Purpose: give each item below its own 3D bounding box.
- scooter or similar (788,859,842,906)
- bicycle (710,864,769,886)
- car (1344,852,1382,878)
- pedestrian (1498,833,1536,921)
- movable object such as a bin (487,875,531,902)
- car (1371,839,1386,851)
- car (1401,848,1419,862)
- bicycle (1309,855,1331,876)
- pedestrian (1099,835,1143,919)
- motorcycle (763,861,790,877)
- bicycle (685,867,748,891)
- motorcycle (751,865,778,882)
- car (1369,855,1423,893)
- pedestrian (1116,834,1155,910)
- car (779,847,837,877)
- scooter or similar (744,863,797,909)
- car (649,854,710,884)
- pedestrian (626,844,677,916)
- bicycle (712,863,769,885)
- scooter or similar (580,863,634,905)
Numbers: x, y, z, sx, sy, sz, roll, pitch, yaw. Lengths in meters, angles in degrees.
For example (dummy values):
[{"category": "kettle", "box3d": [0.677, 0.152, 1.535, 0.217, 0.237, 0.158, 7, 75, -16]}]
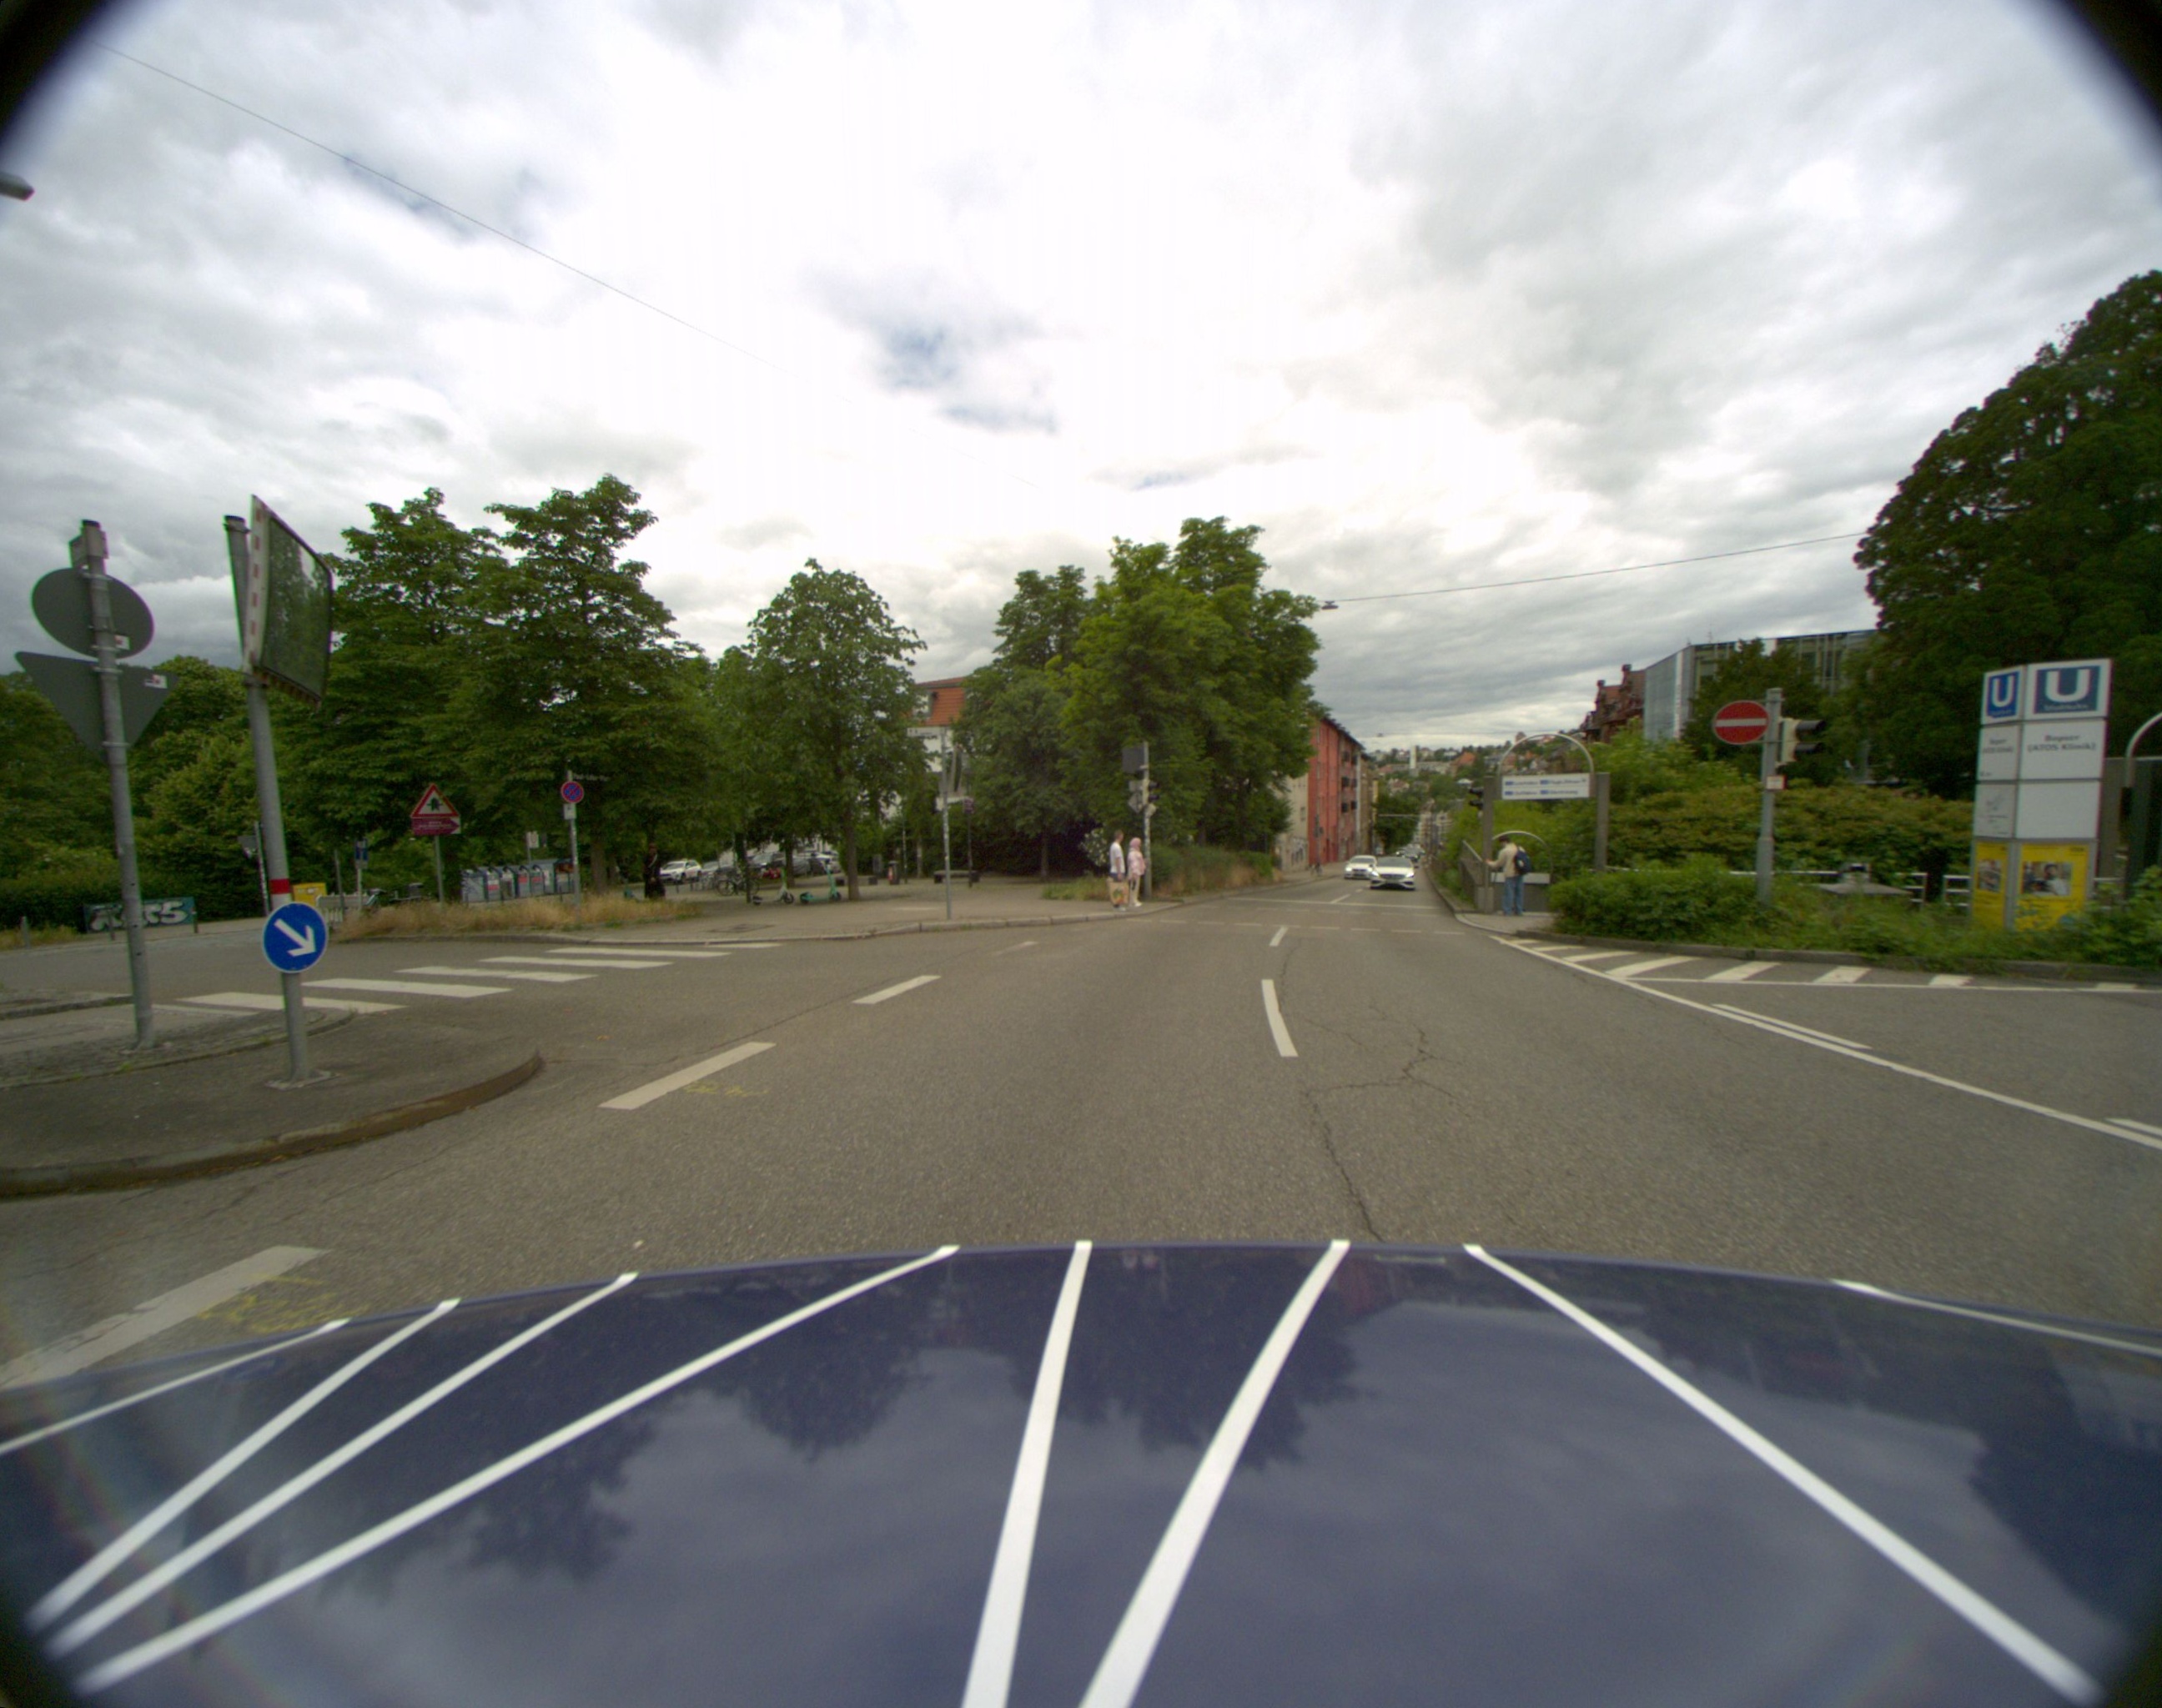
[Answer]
[{"category": "scooter or similar", "box3d": [-7.333, 0.787, 20.948, 1.247, 1.219, 0.501, -3, 1, 3]}, {"category": "bicycle", "box3d": [-19.564, 1.206, 43.588, 0.920, 1.139, 2.960, 0, 1, 39]}, {"category": "car", "box3d": [17.423, 0.665, 46.853, 1.995, 1.479, 4.236, -2, 0, 23]}, {"category": "pedestrian", "box3d": [9.453, 0.479, 16.462, 0.705, 1.850, 0.615, 0, 1, 31]}, {"category": "movable object such as a bin", "box3d": [-26.751, 1.588, 35.541, 1.059, 1.159, 1.317, -1, 1, 32]}, {"category": "car", "box3d": [47.287, -1.432, 120.634, 1.858, 1.702, 4.315, 2, 2, 25]}, {"category": "car", "box3d": [41.734, 0.089, 96.335, 1.878, 1.728, 4.007, 1, 1, 25]}, {"category": "bicycle", "box3d": [14.262, 0.653, 45.415, 0.640, 1.137, 2.064, 2, 2, 0]}, {"category": "pedestrian", "box3d": [0.858, 0.459, 16.048, 0.615, 1.703, 0.728, 3, 2, 28]}, {"category": "motorcycle", "box3d": [-19.886, 0.969, 49.691, 0.754, 1.027, 2.055, -1, 1, 4]}, {"category": "bicycle", "box3d": [-19.870, 1.332, 41.477, 0.920, 1.139, 2.960, 0, 1, 39]}, {"category": "motorcycle", "box3d": [-20.713, 1.271, 49.781, 0.754, 1.027, 2.055, -1, 1, 4]}, {"category": "car", "box3d": [13.573, 0.801, 32.866, 1.995, 1.390, 4.236, 2, 2, 21]}, {"category": "pedestrian", "box3d": [1.268, 0.409, 17.599, 0.615, 1.703, 0.728, 3, 2, 28]}, {"category": "car", "box3d": [-19.562, 0.537, 54.697, 3.790, 2.002, 1.997, -1, 1, -17]}, {"category": "scooter or similar", "box3d": [-8.850, 0.911, 21.670, 1.247, 1.219, 0.501, -3, 1, 3]}, {"category": "car", "box3d": [-28.357, 1.004, 53.818, 1.999, 1.893, 4.712, -2, 1, -4]}, {"category": "pedestrian", "box3d": [-11.557, 0.680, 20.447, 0.962, 1.875, 0.859, -1, 2, 42]}, {"category": "bicycle", "box3d": [-19.977, 1.169, 44.639, 0.920, 1.139, 2.960, 0, 1, 39]}, {"category": "scooter or similar", "box3d": [-14.753, 0.922, 23.666, 1.322, 1.241, 0.463, -3, 2, -44]}]
